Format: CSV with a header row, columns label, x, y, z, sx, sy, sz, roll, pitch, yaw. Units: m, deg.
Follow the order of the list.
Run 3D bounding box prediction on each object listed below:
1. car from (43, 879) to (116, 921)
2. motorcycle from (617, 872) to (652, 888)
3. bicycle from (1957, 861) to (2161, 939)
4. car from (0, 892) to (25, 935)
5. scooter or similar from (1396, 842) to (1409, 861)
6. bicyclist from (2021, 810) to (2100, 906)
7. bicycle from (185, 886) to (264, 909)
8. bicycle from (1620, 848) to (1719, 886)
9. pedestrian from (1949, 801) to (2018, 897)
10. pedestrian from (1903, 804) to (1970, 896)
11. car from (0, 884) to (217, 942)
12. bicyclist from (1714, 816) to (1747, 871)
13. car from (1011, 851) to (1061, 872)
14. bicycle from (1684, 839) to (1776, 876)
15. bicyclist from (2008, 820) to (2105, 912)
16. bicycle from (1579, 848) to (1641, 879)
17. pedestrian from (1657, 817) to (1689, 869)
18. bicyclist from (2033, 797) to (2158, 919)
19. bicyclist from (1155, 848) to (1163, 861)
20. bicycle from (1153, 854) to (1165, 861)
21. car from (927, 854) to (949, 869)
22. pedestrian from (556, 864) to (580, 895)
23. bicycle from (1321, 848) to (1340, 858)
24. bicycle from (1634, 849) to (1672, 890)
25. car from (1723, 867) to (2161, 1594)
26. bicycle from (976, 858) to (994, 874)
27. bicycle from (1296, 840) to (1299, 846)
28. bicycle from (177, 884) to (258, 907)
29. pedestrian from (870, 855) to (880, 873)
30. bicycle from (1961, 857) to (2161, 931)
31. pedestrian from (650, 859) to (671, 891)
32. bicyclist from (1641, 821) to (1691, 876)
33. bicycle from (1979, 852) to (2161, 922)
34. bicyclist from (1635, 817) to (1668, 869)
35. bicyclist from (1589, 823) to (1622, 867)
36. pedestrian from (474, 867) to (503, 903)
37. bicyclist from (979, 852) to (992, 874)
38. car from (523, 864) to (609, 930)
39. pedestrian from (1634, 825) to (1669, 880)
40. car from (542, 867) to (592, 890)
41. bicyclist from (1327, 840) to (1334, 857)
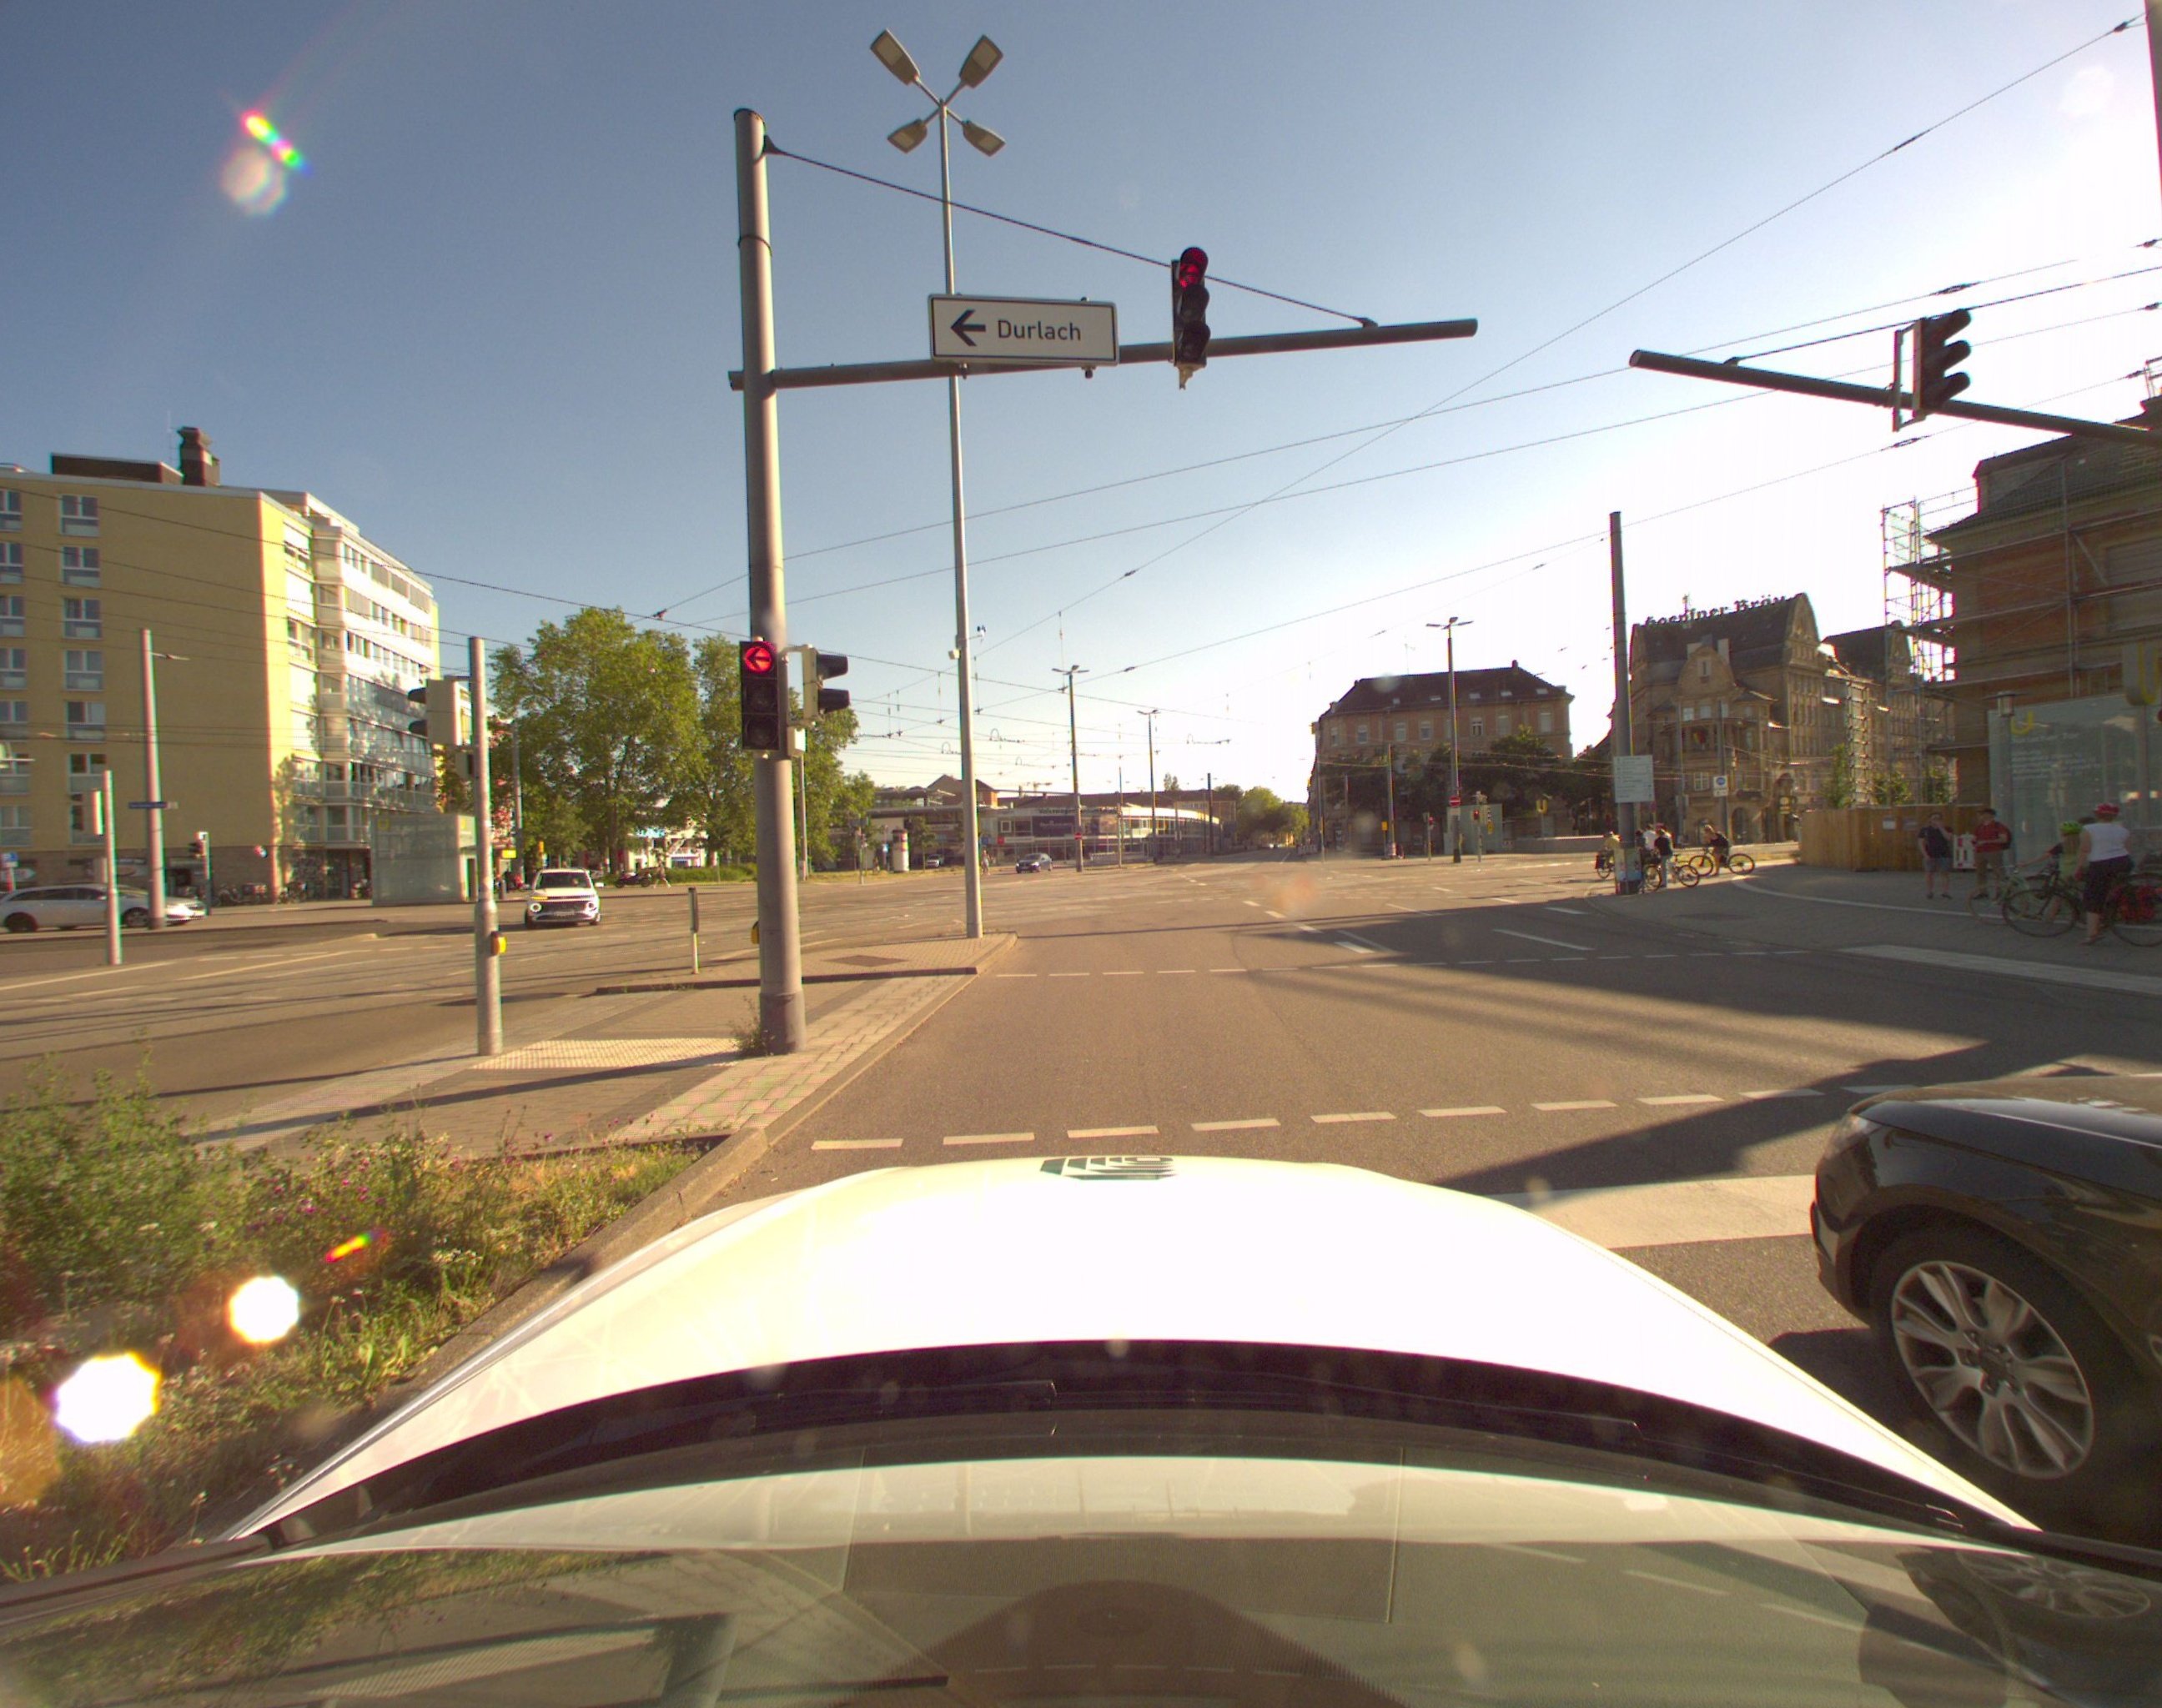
label,x,y,z,sx,sy,sz,roll,pitch,yaw
car,-44.198,1.972,35.931,3.948,1.706,1.730,-1,-1,35
motorcycle,-27.263,1.578,49.753,1.779,0.914,0.675,0,-1,-19
bicycle,13.456,0.586,11.159,0.656,0.963,2.033,0,-1,-3
car,-47.092,2.563,34.899,3.948,1.706,2.013,-1,-1,35
scooter or similar,24.748,-0.181,62.756,0.780,1.376,1.916,-1,-1,16
bicyclist,15.392,0.065,12.801,0.619,1.454,0.667,0,-1,-27
bicycle,-46.443,2.352,44.208,3.041,1.151,0.637,0,-1,-16
bicycle,16.997,0.379,23.598,0.701,1.049,2.303,0,-1,-22
pedestrian,17.545,-0.092,15.839,0.672,1.807,0.680,0,-1,-19
pedestrian,17.342,-0.085,16.516,0.672,1.807,0.680,-3,0,-19
car,-31.719,1.868,26.421,4.724,1.662,1.773,0,-1,-22
bicyclist,21.266,-0.334,26.678,0.785,1.779,0.526,-1,-1,37
car,-3.381,0.562,61.951,1.975,1.585,4.024,-1,-1,29
bicycle,21.237,0.116,26.716,2.290,1.049,0.539,-5,-1,36
bicyclist,14.434,0.178,12.070,0.614,1.315,0.673,0,-1,-3
bicycle,19.090,0.314,29.472,0.533,1.049,2.315,0,1,-6
pedestrian,22.108,-0.407,30.429,0.646,1.922,0.689,0,-1,-6
bicyclist,13.480,0.053,10.842,0.664,1.553,0.794,0,-1,-3
bicyclist,10.077,0.052,105.191,0.647,1.572,0.928,-1,-1,31
bicycle,10.100,0.404,105.216,0.632,0.870,2.249,-1,-1,32
car,-17.516,0.954,99.901,1.988,1.750,3.997,0,-1,-1
pedestrian,-28.380,1.401,45.050,0.790,1.706,0.760,-1,-1,9
bicycle,24.509,-0.138,80.026,1.579,0.952,0.663,-1,-1,35
bicycle,15.941,0.413,22.745,0.692,1.049,2.335,0,1,31
car,2.892,0.736,0.697,1.617,1.404,4.001,0,0,2
bicycle,-7.068,0.873,60.031,0.607,1.189,1.878,-1,-1,19
bicycle,33.603,-1.683,126.387,0.407,0.941,1.852,-1,-1,15
bicycle,-46.187,2.223,43.591,3.041,1.151,0.637,0,-1,-16
pedestrian,-19.715,0.965,78.035,0.854,1.694,0.497,0,-1,-1
bicycle,14.451,0.548,12.001,0.657,0.963,2.033,-4,0,-3
pedestrian,-25.289,1.243,48.975,0.790,1.886,0.760,-1,-1,9
bicyclist,16.962,-0.155,23.636,0.711,1.557,0.940,0,-1,-22
bicycle,15.494,0.481,12.608,0.661,0.963,2.018,-4,1,-25
bicyclist,15.976,-0.292,22.824,0.701,1.439,0.953,-1,-1,32
bicyclist,19.072,-0.314,29.625,0.514,1.557,0.945,0,-1,-7
pedestrian,-28.256,1.461,38.841,0.790,1.706,0.760,-1,-1,9
bicyclist,-7.041,0.652,60.121,0.593,1.615,0.827,-1,-1,19
car,-14.309,1.106,22.549,1.794,1.662,3.956,0,-1,-36
pedestrian,21.269,-0.058,30.367,0.730,2.014,0.760,0,-1,-6
car,-37.307,1.721,59.234,1.772,1.567,3.983,0,-1,-12
bicyclist,24.508,-0.548,80.034,0.509,1.700,0.523,-1,-1,35
